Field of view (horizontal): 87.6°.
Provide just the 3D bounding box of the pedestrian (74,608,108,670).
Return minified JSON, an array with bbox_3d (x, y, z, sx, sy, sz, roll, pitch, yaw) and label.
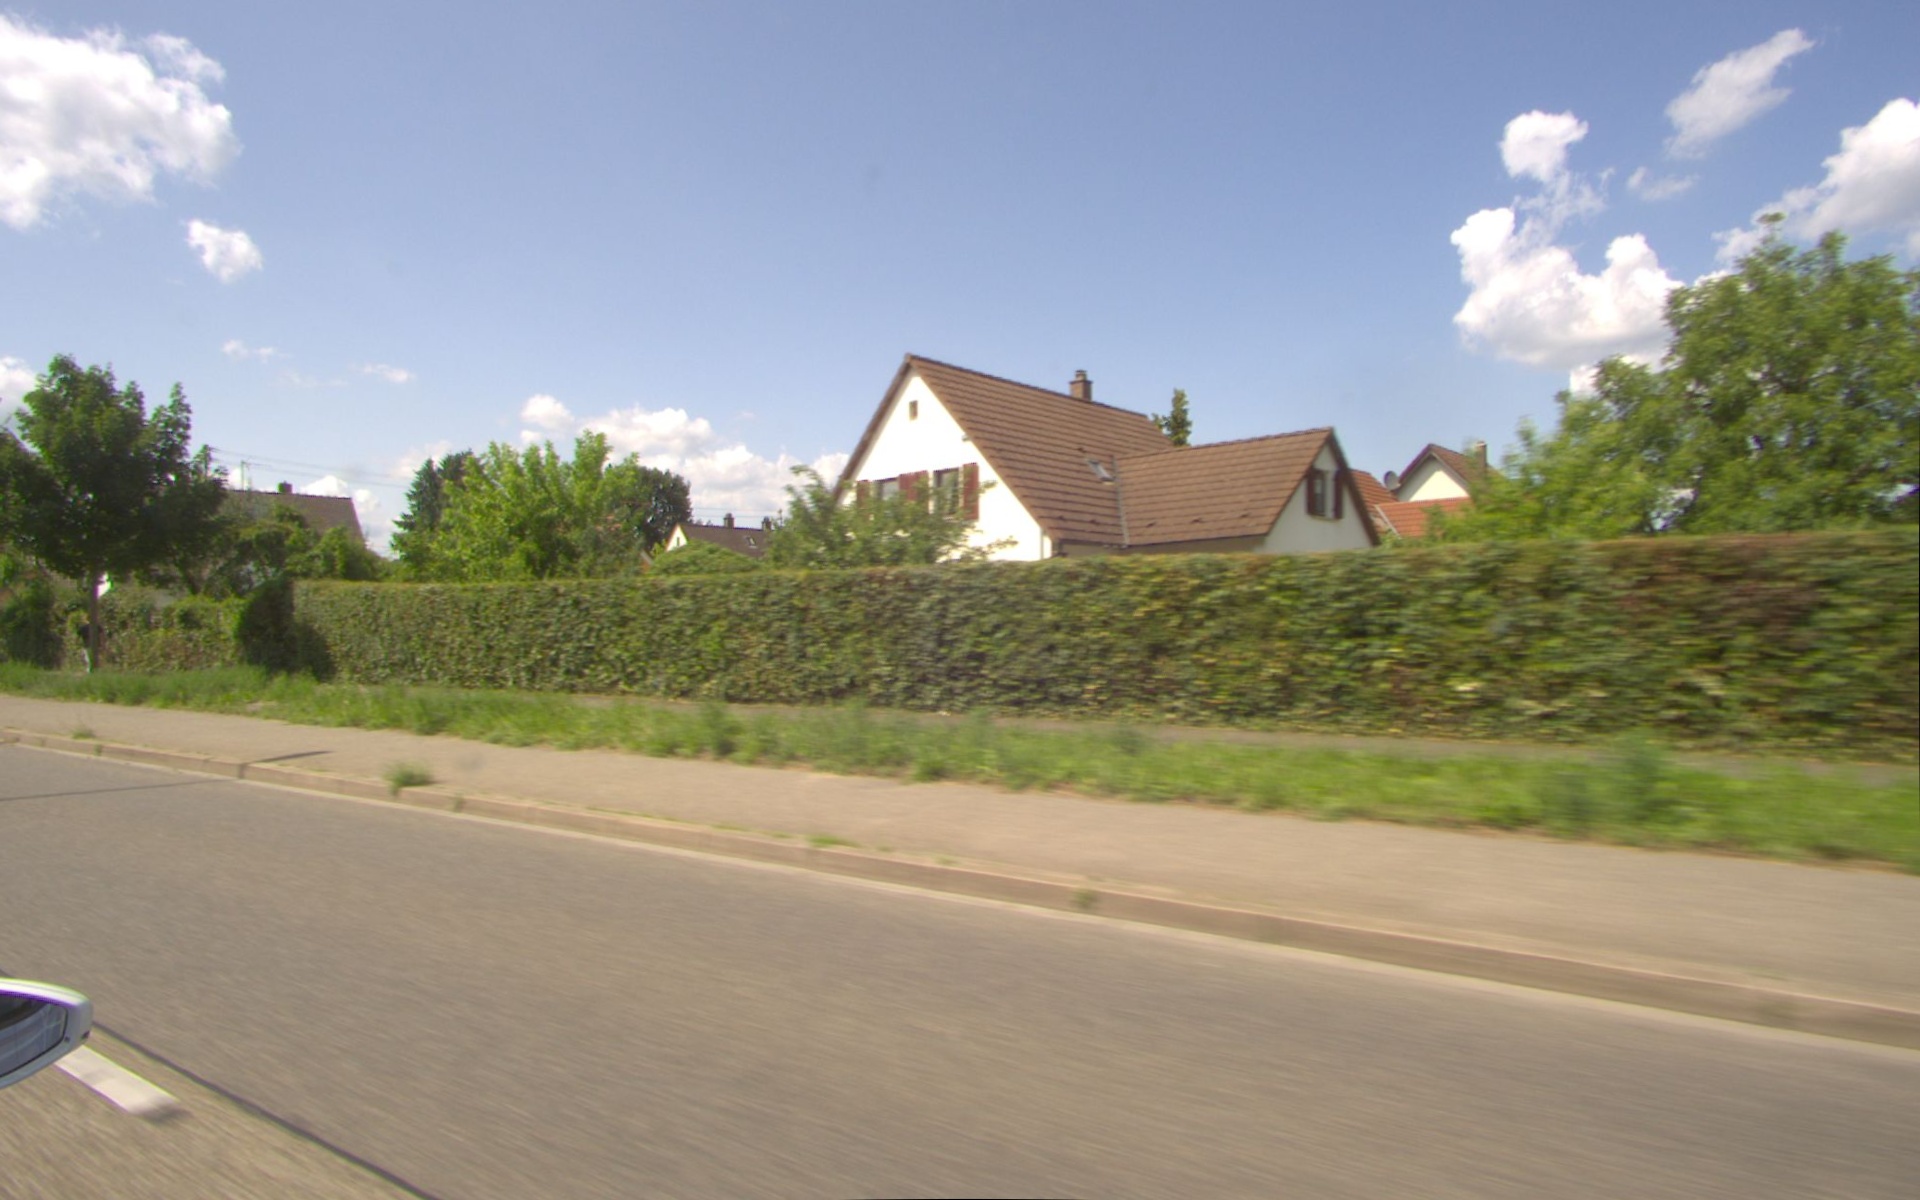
[{"bbox_3d":[-24.520,1.095,28.268,0.625,1.698,0.559,0,-1,31],"label":"pedestrian"}]
